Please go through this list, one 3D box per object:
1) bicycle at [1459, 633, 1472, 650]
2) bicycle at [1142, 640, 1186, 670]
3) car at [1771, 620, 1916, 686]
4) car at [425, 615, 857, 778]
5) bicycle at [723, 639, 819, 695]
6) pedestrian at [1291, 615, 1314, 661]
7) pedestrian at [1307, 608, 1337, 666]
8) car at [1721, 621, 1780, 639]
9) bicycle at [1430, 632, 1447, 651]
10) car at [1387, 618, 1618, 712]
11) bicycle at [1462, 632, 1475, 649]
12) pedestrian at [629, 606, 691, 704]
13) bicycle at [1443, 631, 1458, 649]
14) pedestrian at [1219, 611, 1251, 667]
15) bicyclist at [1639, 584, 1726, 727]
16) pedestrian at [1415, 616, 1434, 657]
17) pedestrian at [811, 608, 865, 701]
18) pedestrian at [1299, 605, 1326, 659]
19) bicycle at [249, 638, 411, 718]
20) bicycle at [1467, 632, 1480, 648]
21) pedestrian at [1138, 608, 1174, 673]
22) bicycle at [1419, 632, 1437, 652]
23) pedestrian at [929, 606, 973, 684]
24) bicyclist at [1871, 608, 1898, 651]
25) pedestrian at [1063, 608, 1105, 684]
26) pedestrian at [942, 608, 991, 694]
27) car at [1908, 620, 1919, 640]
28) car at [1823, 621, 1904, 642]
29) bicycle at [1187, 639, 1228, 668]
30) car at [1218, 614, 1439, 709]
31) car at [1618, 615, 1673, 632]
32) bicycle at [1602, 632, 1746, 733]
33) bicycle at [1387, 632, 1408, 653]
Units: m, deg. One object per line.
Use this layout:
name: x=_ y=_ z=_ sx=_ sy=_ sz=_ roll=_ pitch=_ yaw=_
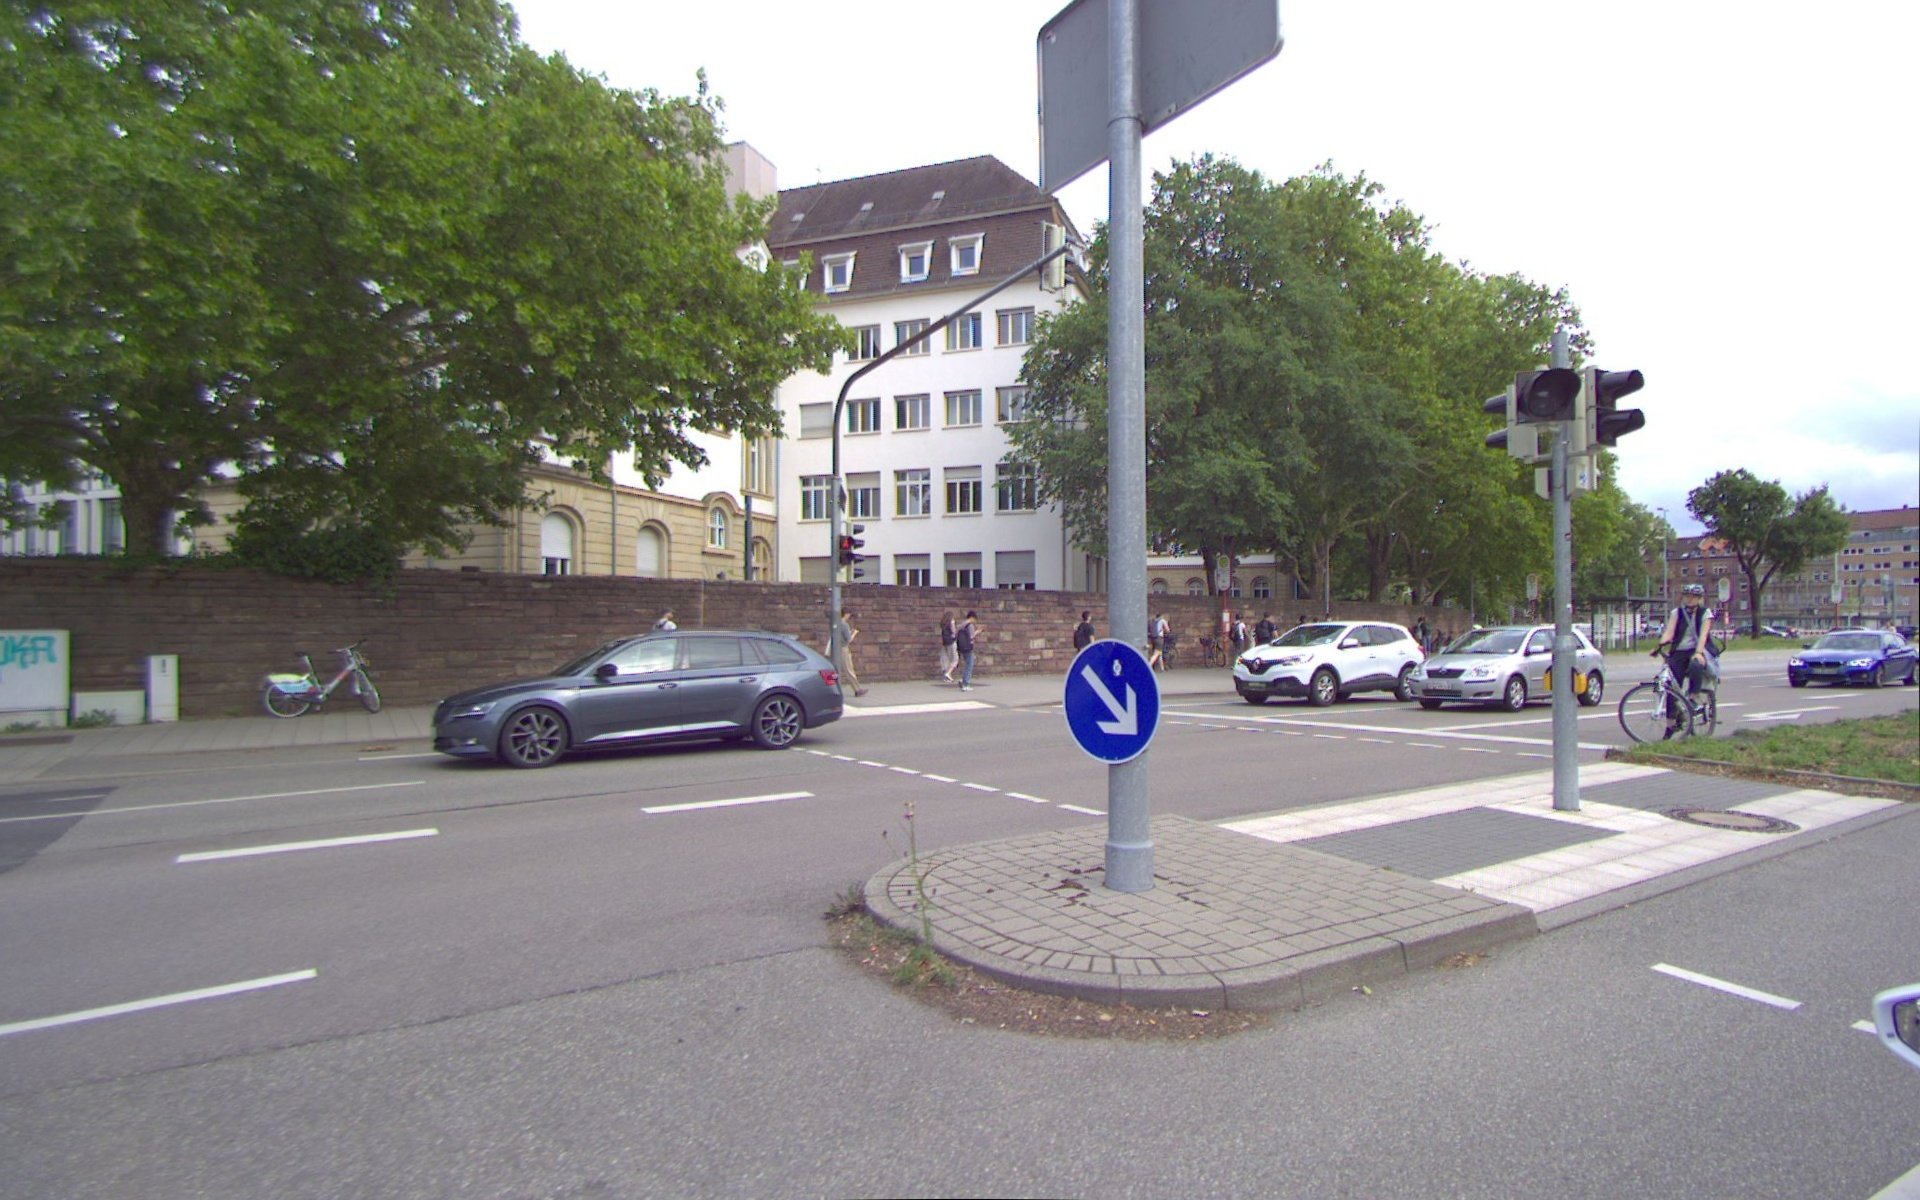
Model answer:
bicycle: x=28.173 y=2.295 z=55.960 sx=0.474 sy=0.919 sz=1.616 roll=2 pitch=0 yaw=33
bicycle: x=6.188 y=1.666 z=30.405 sx=1.608 sy=0.807 sz=0.437 roll=0 pitch=2 yaw=-42
car: x=22.643 y=1.292 z=25.716 sx=4.060 sy=1.531 sz=1.791 roll=0 pitch=-1 yaw=-33
car: x=-3.755 y=1.016 z=12.216 sx=4.696 sy=1.637 sz=1.885 roll=1 pitch=-1 yaw=-35
bicycle: x=-3.969 y=1.386 z=21.183 sx=1.964 sy=1.072 sz=0.544 roll=1 pitch=2 yaw=-39
pedestrian: x=12.228 y=1.352 z=35.876 sx=0.578 sy=1.613 sz=0.733 roll=0 pitch=-2 yaw=35
pedestrian: x=11.524 y=1.166 z=31.934 sx=0.747 sy=1.806 sz=0.923 roll=0 pitch=-2 yaw=29
car: x=69.074 y=2.594 z=87.805 sx=1.570 sy=1.413 sz=3.736 roll=1 pitch=0 yaw=-37
bicycle: x=23.551 y=2.051 z=49.391 sx=0.435 sy=0.890 sz=1.615 roll=2 pitch=0 yaw=36
car: x=9.825 y=1.087 z=18.120 sx=4.240 sy=1.509 sz=1.792 roll=1 pitch=-1 yaw=-31
bicycle: x=29.284 y=2.331 z=57.854 sx=0.474 sy=0.919 sz=1.616 roll=2 pitch=0 yaw=33
pedestrian: x=-5.674 y=1.030 z=19.023 sx=0.732 sy=1.806 sz=0.783 roll=0 pitch=-2 yaw=23
bicycle: x=25.290 y=2.044 z=51.765 sx=0.474 sy=0.919 sz=1.616 roll=-1 pitch=-2 yaw=34
pedestrian: x=8.487 y=1.212 z=31.018 sx=0.747 sy=1.693 sz=0.923 roll=0 pitch=-2 yaw=29
bicyclist: x=8.322 y=0.625 z=11.574 sx=0.690 sy=1.595 sz=0.570 roll=0 pitch=-1 yaw=-28
pedestrian: x=19.548 y=1.546 z=42.261 sx=0.553 sy=1.690 sz=0.624 roll=0 pitch=-2 yaw=41
pedestrian: x=-2.445 y=1.088 z=20.153 sx=0.733 sy=1.806 sz=0.783 roll=0 pitch=-2 yaw=25
pedestrian: x=11.904 y=1.084 z=33.910 sx=0.747 sy=1.806 sz=0.783 roll=0 pitch=-2 yaw=29
bicycle: x=-9.970 y=1.210 z=15.946 sx=2.145 sy=1.141 sz=0.573 roll=1 pitch=2 yaw=-37
bicycle: x=30.432 y=2.366 z=59.492 sx=0.474 sy=0.919 sz=1.616 roll=2 pitch=0 yaw=33
pedestrian: x=5.596 y=1.147 z=28.698 sx=0.747 sy=1.806 sz=0.913 roll=0 pitch=-2 yaw=29
bicycle: x=22.202 y=1.990 z=47.601 sx=0.435 sy=0.890 sz=1.615 roll=2 pitch=0 yaw=36
pedestrian: x=-0.208 y=1.070 z=23.861 sx=0.747 sy=1.806 sz=0.783 roll=0 pitch=-2 yaw=26
bicyclist: x=39.585 y=1.263 z=43.021 sx=0.801 sy=1.806 sz=0.616 roll=0 pitch=-1 yaw=-28
pedestrian: x=3.037 y=1.124 z=24.609 sx=0.747 sy=1.806 sz=0.783 roll=0 pitch=-2 yaw=29
pedestrian: x=0.149 y=1.100 z=21.731 sx=0.747 sy=1.806 sz=0.783 roll=0 pitch=-2 yaw=28
car: x=76.345 y=2.340 z=77.920 sx=1.645 sy=1.537 sz=3.829 roll=1 pitch=0 yaw=-37
car: x=73.351 y=2.543 z=81.610 sx=1.645 sy=1.495 sz=4.635 roll=1 pitch=0 yaw=-37
bicycle: x=7.860 y=1.694 z=31.909 sx=1.608 sy=0.807 sz=0.437 roll=0 pitch=2 yaw=-42
car: x=7.314 y=1.138 z=19.799 sx=4.374 sy=1.674 sz=1.854 roll=1 pitch=-1 yaw=-33
car: x=67.290 y=2.293 z=98.668 sx=1.632 sy=1.671 sz=4.123 roll=1 pitch=-2 yaw=-38
bicycle: x=8.184 y=0.910 z=11.496 sx=1.902 sy=1.069 sz=0.571 roll=1 pitch=-1 yaw=-29
bicycle: x=19.153 y=1.862 z=43.998 sx=0.411 sy=0.890 sz=1.548 roll=2 pitch=0 yaw=40
